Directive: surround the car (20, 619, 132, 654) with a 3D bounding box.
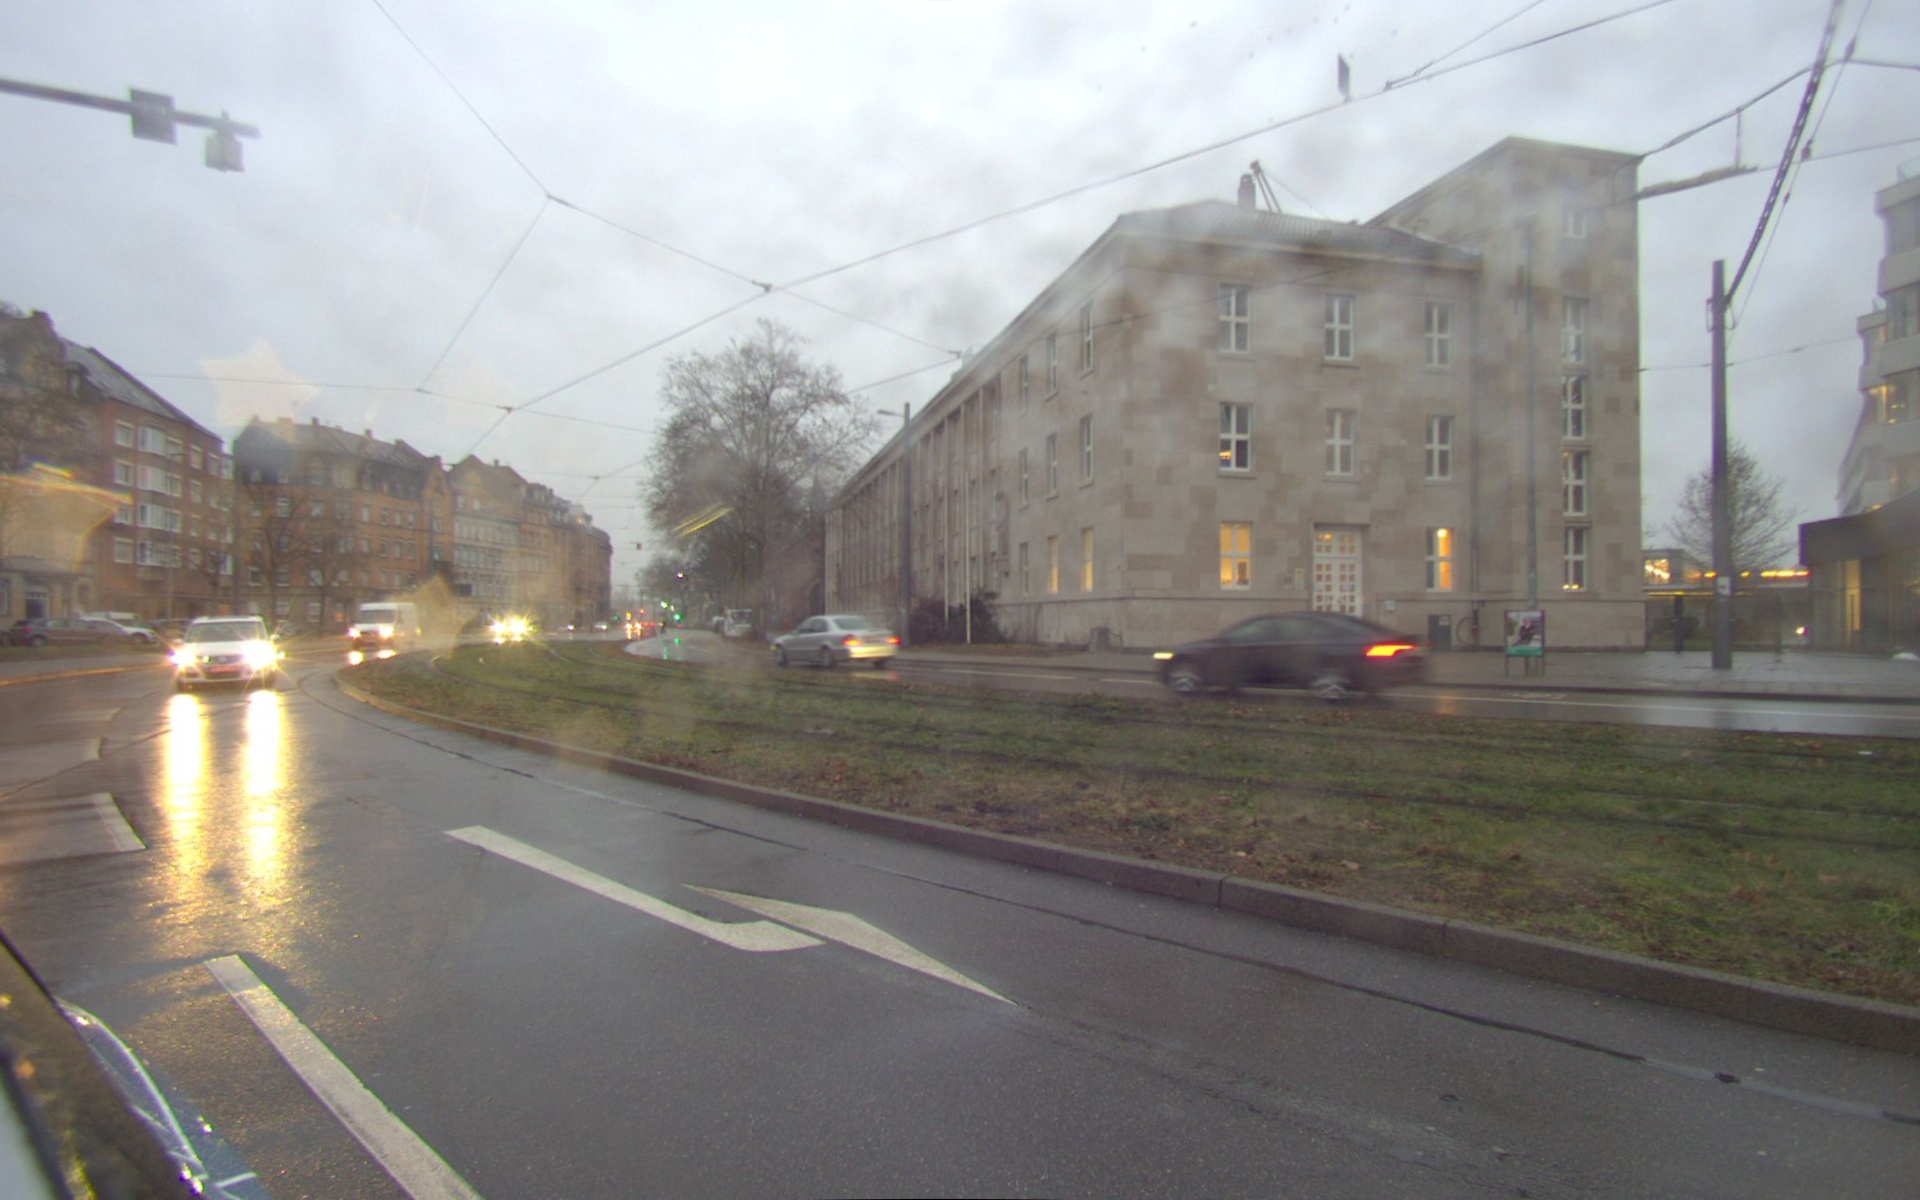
[{"bbox_3d":[-40.813,1.653,46.748,3.816,1.416,1.696,-2,0,-43],"label":"car"}]

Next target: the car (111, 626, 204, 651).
[{"bbox_3d":[-42.643,2.039,53.835,3.711,1.288,1.602,1,-2,-45],"label":"car"}]

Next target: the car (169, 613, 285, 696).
[{"bbox_3d":[-16.954,1.188,23.572,1.647,1.672,4.161,-2,0,-29],"label":"car"}]

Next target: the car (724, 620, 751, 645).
[{"bbox_3d":[-13.613,1.972,61.828,1.535,1.439,2.963,0,0,-14],"label":"car"}]

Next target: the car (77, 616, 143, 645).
[{"bbox_3d":[-53.442,1.889,63.690,1.648,1.716,3.473,-2,0,-10],"label":"car"}]

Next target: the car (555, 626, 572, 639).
[{"bbox_3d":[-49.814,4.033,127.124,1.694,1.630,3.950,0,-2,-17],"label":"car"}]

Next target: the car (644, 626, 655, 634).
[{"bbox_3d":[-74.761,7.207,243.682,1.923,1.829,4.006,0,-1,-7],"label":"car"}]

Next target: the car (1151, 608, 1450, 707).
[{"bbox_3d":[5.641,0.911,17.179,4.524,1.411,1.638,-2,0,44],"label":"car"}]

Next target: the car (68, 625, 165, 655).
[{"bbox_3d":[-42.631,1.988,51.237,3.706,1.341,1.605,-2,0,-39],"label":"car"}]

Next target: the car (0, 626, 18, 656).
[{"bbox_3d":[-50.467,2.102,51.823,1.449,1.555,3.881,0,-2,-12],"label":"car"}]

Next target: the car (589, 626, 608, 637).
[{"bbox_3d":[-47.327,4.103,132.496,1.866,1.424,3.956,0,-2,-13],"label":"car"}]

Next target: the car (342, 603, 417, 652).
[{"bbox_3d":[-30.768,1.422,53.822,2.095,2.398,5.654,-2,0,-15],"label":"car"}]

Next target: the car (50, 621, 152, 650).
[{"bbox_3d":[-41.830,1.722,49.385,3.706,1.342,1.605,1,-1,-39],"label":"car"}]

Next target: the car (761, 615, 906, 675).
[{"bbox_3d":[-3.627,1.212,28.229,1.798,1.446,4.664,-2,0,-39],"label":"car"}]

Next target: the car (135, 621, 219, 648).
[{"bbox_3d":[-44.412,1.958,57.426,3.706,1.364,1.605,-2,0,-39],"label":"car"}]

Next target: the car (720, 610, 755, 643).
[{"bbox_3d":[-14.612,1.699,66.280,1.966,2.029,4.522,-2,0,-15],"label":"car"}]

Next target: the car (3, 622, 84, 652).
[{"bbox_3d":[-52.401,2.107,57.947,1.666,1.554,4.010,-2,0,-12],"label":"car"}]
